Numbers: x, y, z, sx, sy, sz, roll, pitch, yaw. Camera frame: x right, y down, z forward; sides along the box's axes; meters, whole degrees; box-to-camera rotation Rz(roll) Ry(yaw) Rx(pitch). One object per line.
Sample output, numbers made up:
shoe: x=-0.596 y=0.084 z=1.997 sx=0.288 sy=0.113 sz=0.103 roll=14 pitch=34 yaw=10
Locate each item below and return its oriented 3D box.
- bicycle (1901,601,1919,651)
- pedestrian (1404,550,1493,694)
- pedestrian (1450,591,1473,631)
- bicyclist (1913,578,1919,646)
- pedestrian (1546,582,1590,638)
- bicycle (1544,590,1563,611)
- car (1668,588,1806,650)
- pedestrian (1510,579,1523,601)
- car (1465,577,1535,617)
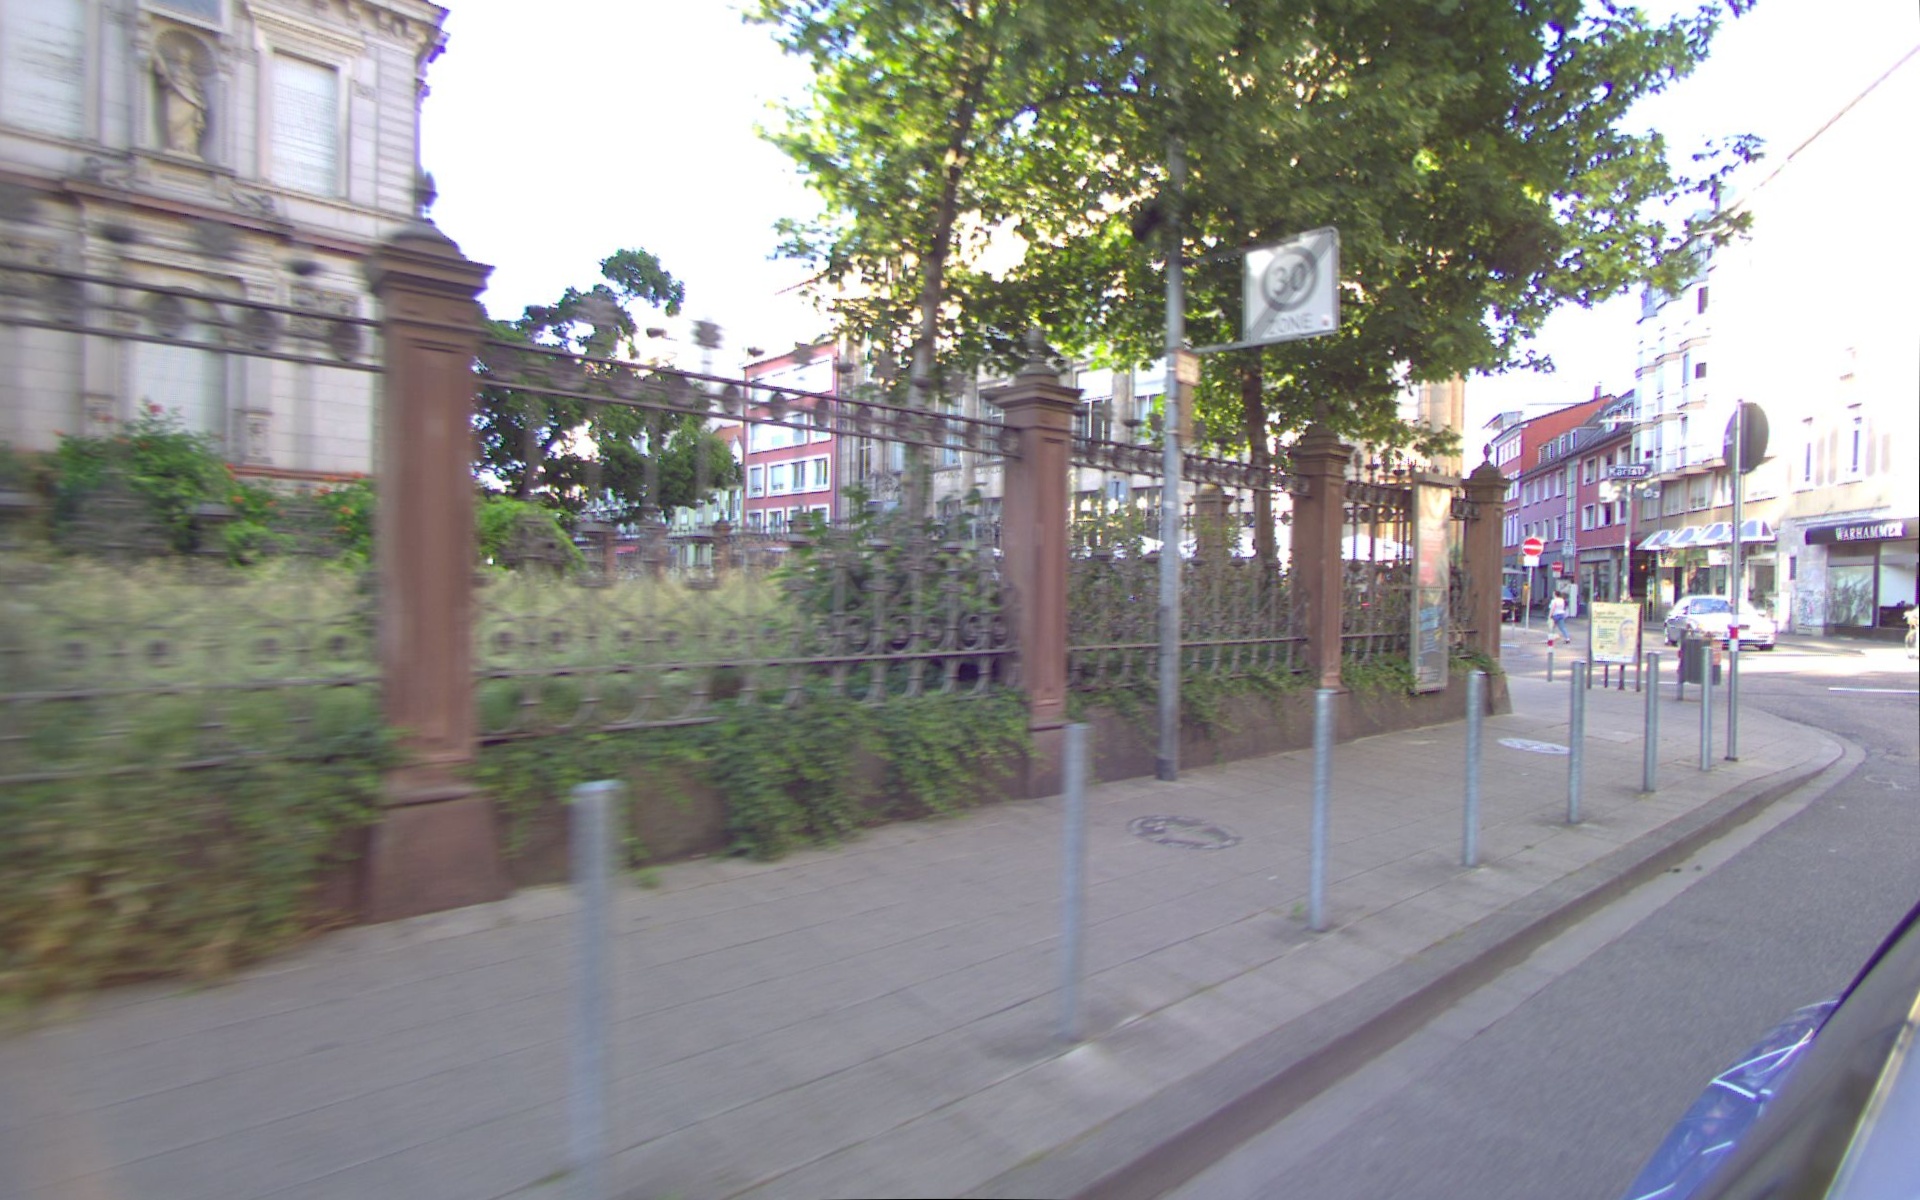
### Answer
bicycle: x=22.861 y=0.621 z=23.562 sx=0.657 sy=1.152 sz=1.812 roll=0 pitch=1 yaw=17
pedestrian: x=6.154 y=0.262 z=12.780 sx=0.624 sy=1.744 sz=0.846 roll=1 pitch=1 yaw=-6
pedestrian: x=15.363 y=0.331 z=30.974 sx=0.602 sy=1.203 sz=0.813 roll=1 pitch=1 yaw=28
bicyclist: x=22.869 y=0.286 z=23.571 sx=0.652 sy=1.590 sz=0.858 roll=0 pitch=1 yaw=19
pedestrian: x=18.035 y=0.279 z=30.015 sx=0.788 sy=1.633 sz=0.736 roll=1 pitch=1 yaw=-11
bicycle: x=35.081 y=0.000 z=59.806 sx=0.538 sy=1.207 sz=1.832 roll=1 pitch=1 yaw=17
car: x=20.084 y=0.424 z=26.380 sx=1.980 sy=1.440 sz=4.419 roll=1 pitch=1 yaw=26
pedestrian: x=38.262 y=-0.680 z=69.565 sx=0.602 sy=1.491 sz=0.546 roll=0 pitch=1 yaw=10
car: x=26.335 y=-0.180 z=49.524 sx=1.972 sy=1.805 sz=4.909 roll=1 pitch=1 yaw=16
